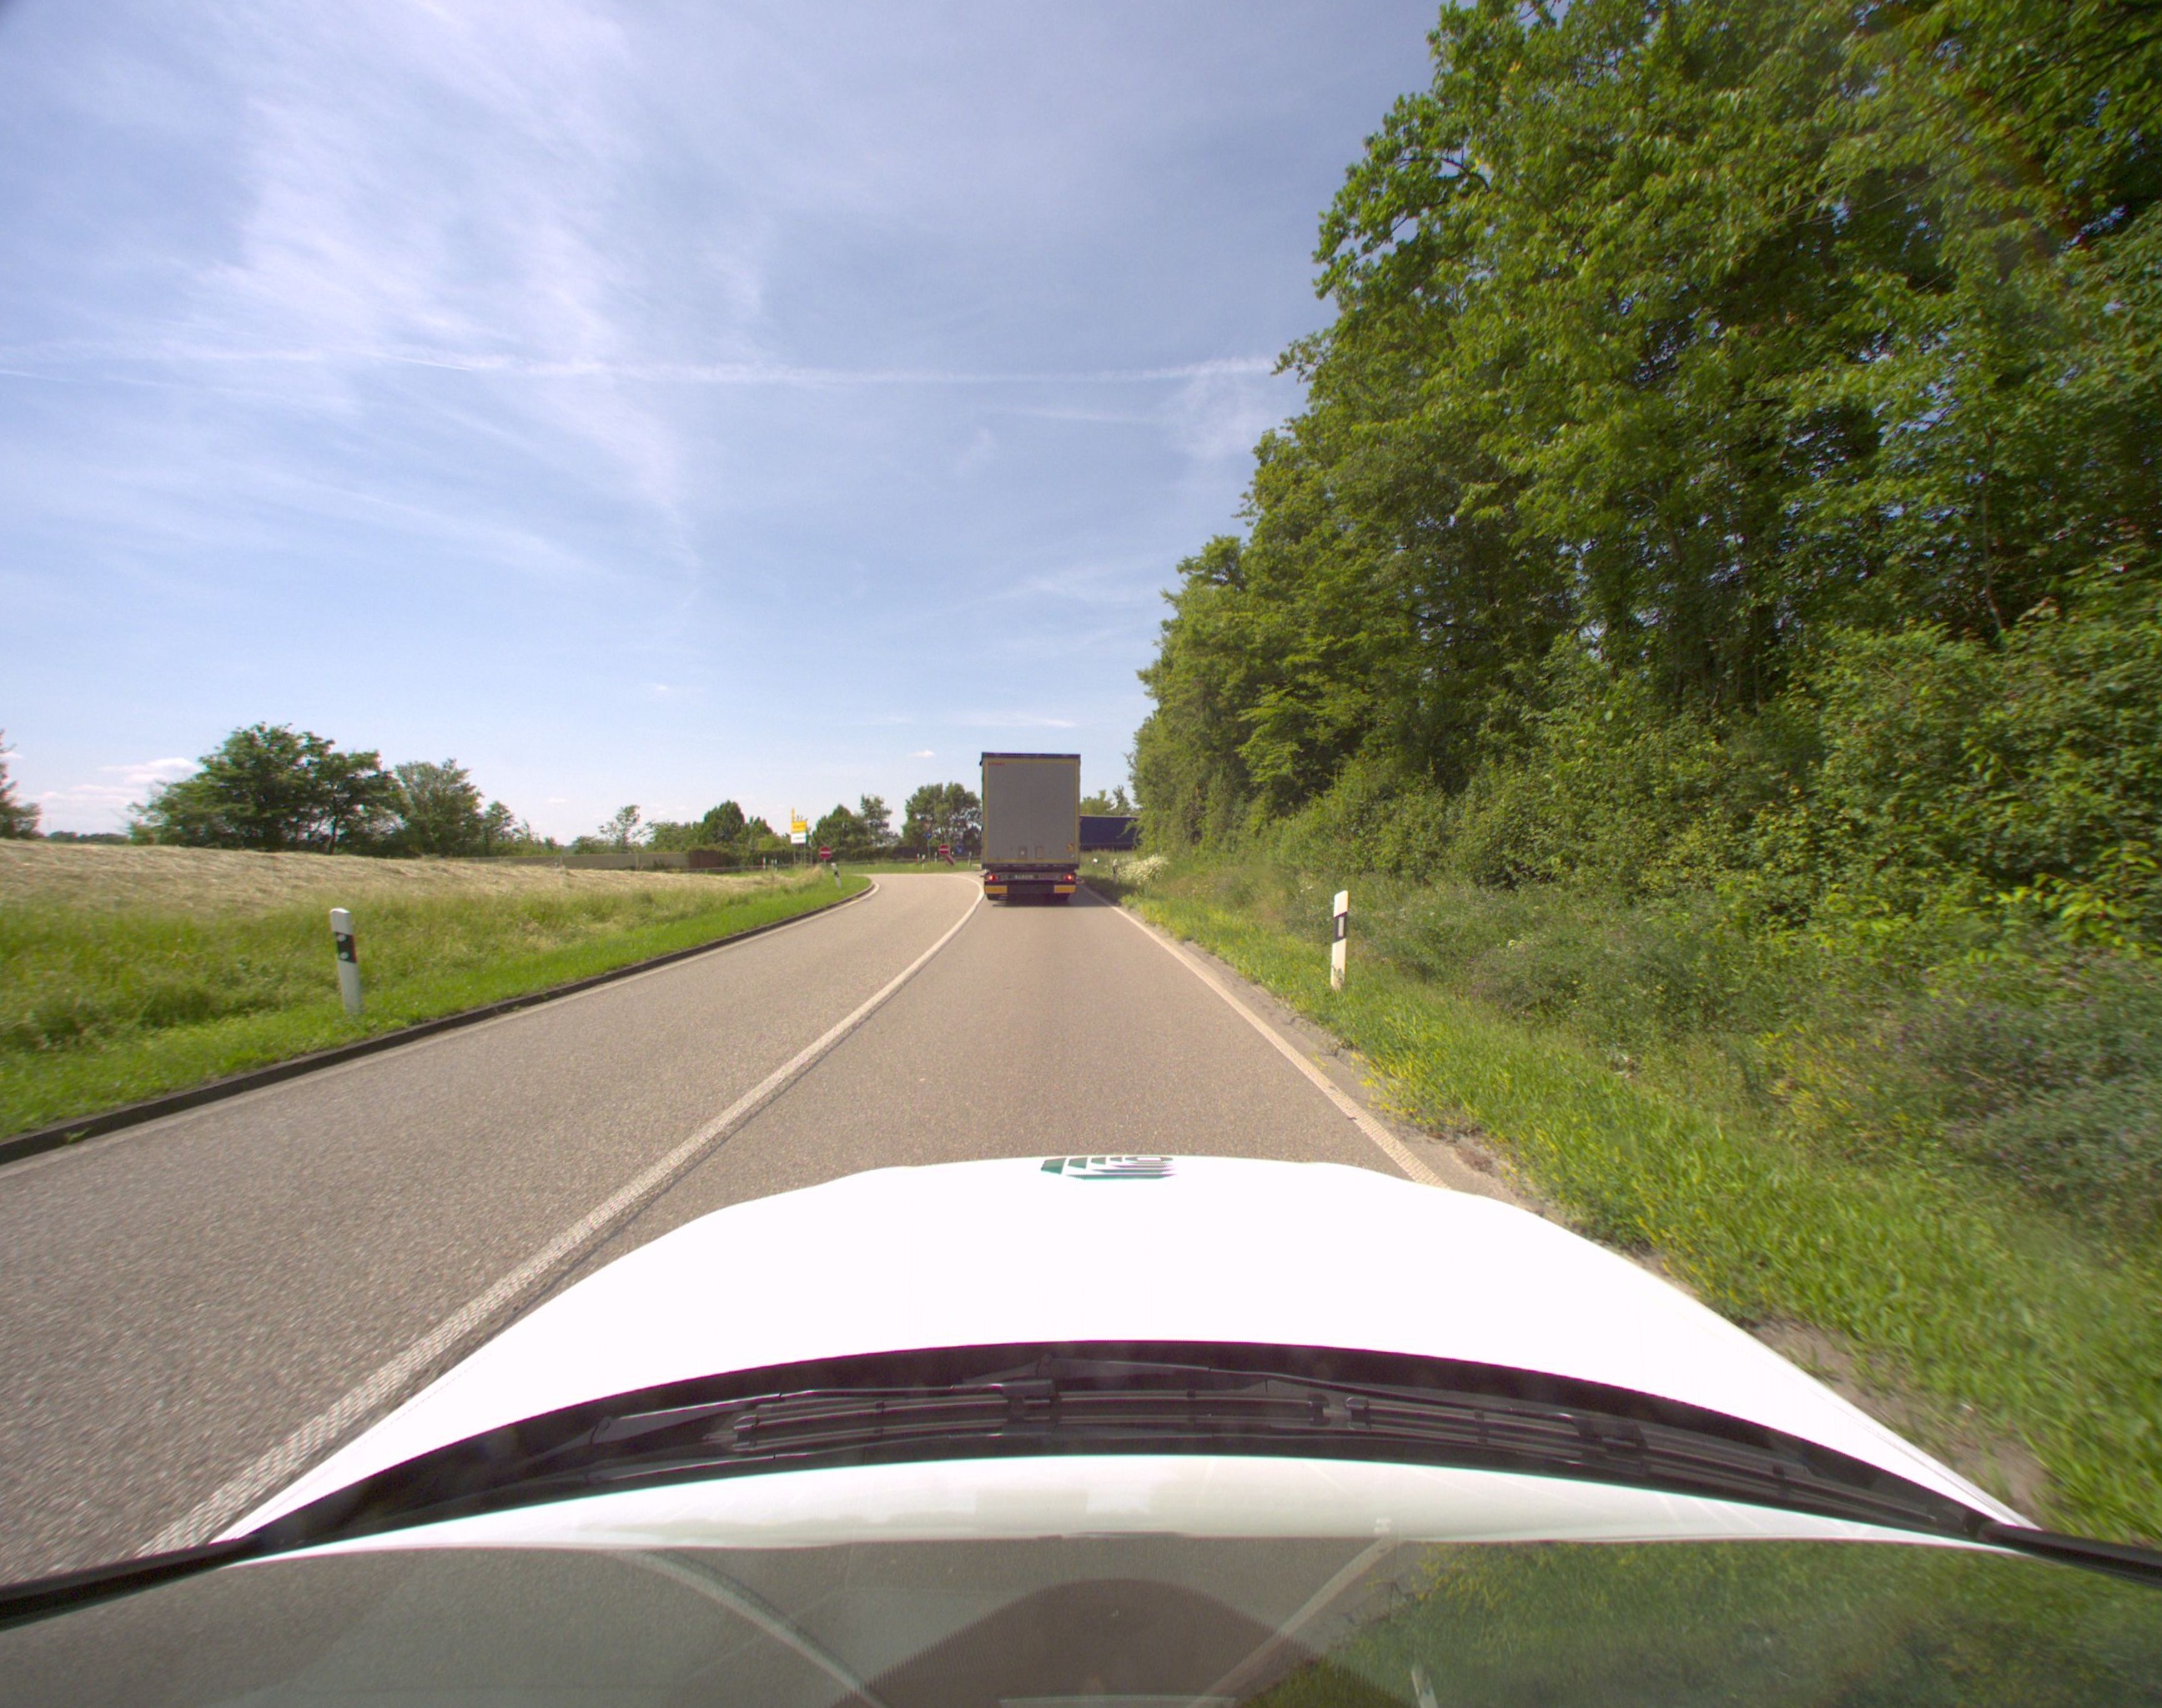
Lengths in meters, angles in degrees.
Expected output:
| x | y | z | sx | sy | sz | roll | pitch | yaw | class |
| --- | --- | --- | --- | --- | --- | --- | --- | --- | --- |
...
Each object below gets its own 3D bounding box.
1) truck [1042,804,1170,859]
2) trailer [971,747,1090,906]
| x | y | z | sx | sy | sz | roll | pitch | yaw | class |
| --- | --- | --- | --- | --- | --- | --- | --- | --- | --- |
| 2.833 | -2.182 | 78.844 | 3.791 | 4.744 | 16.308 | -2 | 0 | 36 | truck |
| -1.672 | -0.770 | 27.518 | 3.020 | 4.034 | 13.336 | 0 | 1 | -3 | trailer |
